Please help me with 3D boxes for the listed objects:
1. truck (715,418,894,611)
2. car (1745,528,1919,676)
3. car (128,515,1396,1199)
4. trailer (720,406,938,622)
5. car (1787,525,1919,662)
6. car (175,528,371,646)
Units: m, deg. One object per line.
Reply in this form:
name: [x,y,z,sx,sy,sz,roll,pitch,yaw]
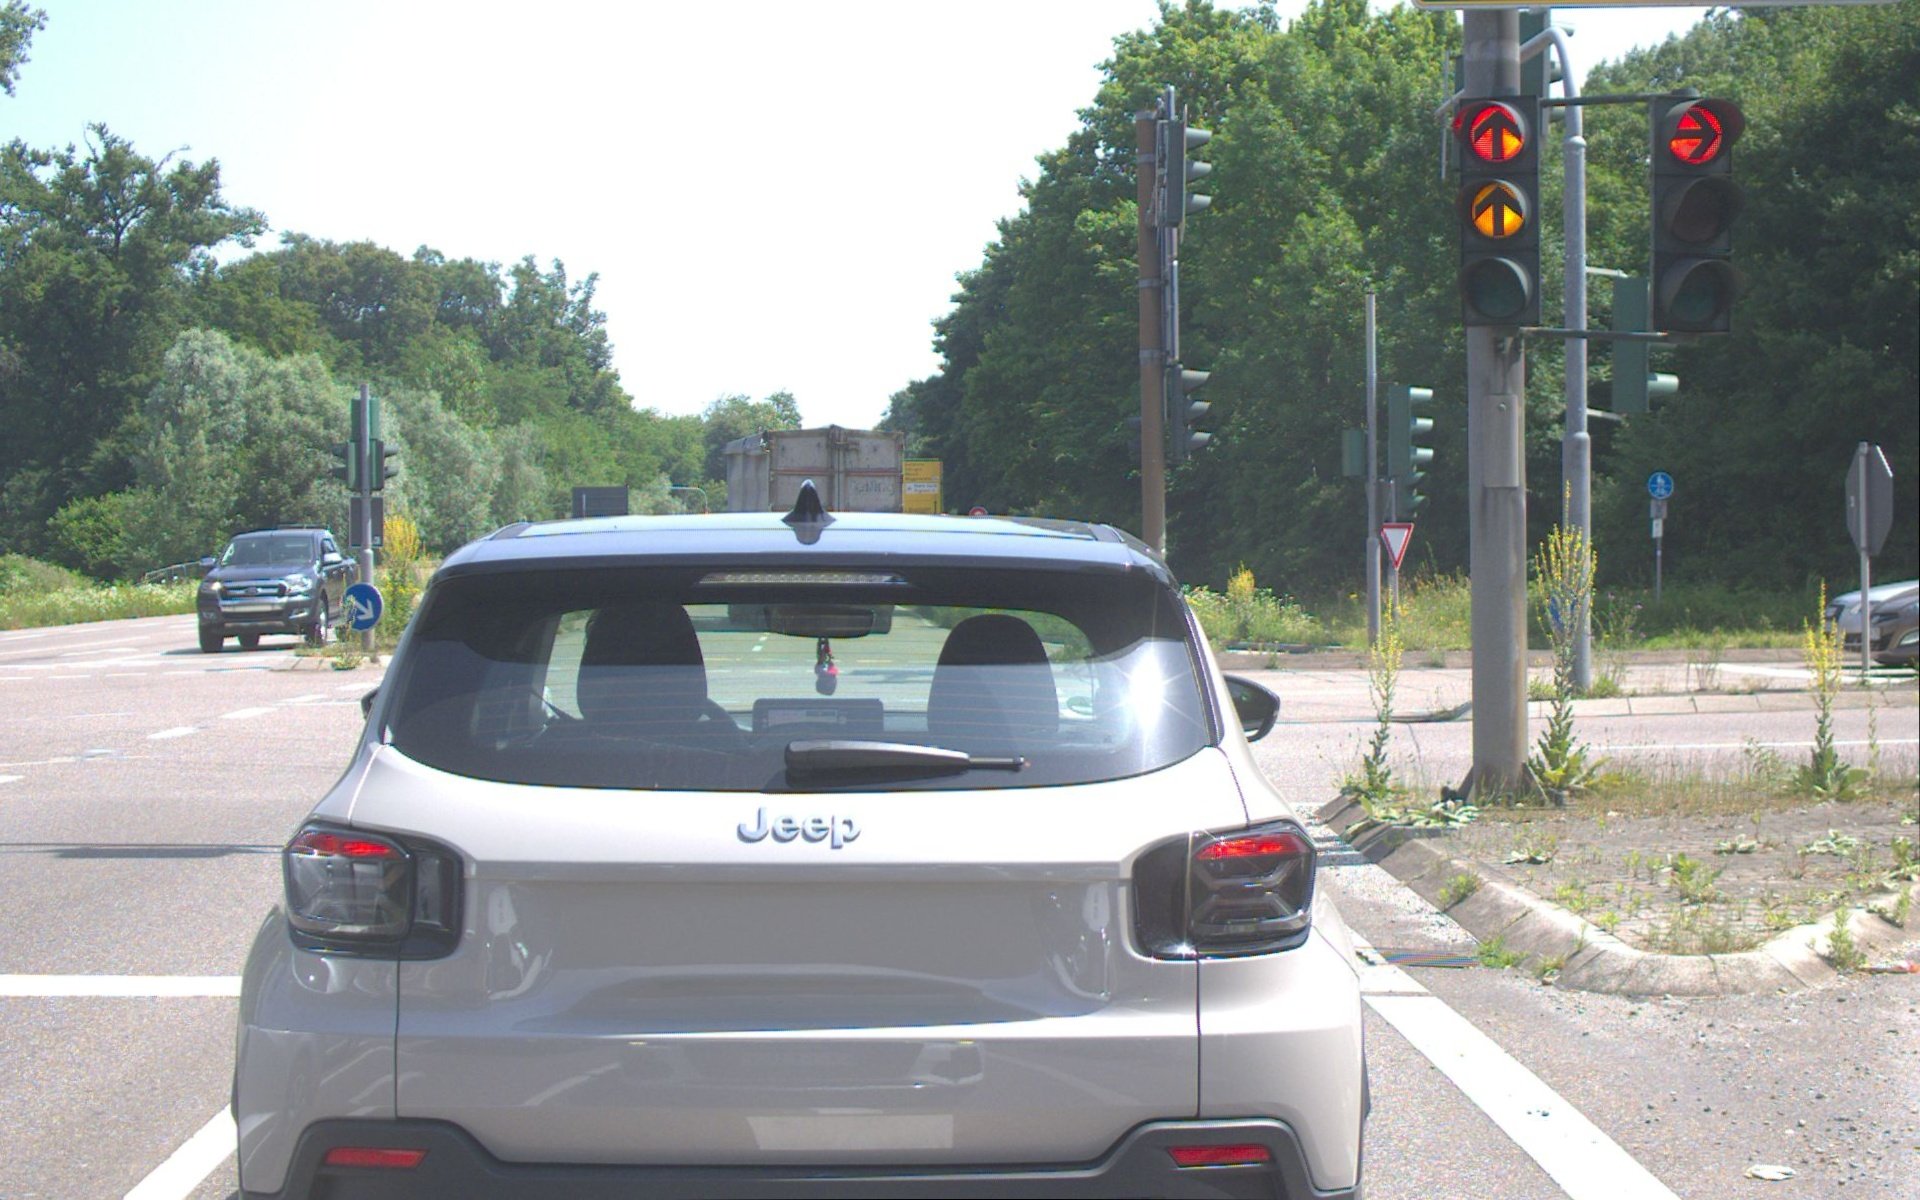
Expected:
truck: [-3.459,-1.809,74.791,3.332,3.975,6.535,1,1,-7]
car: [10.357,-0.028,35.231,4.091,1.442,1.996,-1,1,-3]
car: [-0.300,0.613,6.805,1.767,1.529,4.000,0,1,-1]
trailer: [-2.800,-1.662,69.419,3.382,3.975,10.806,1,1,-7]
car: [12.061,-0.097,38.847,4.932,1.493,2.020,-1,0,0]
car: [-10.598,-0.238,53.428,1.993,1.672,5.366,-2,1,-1]
